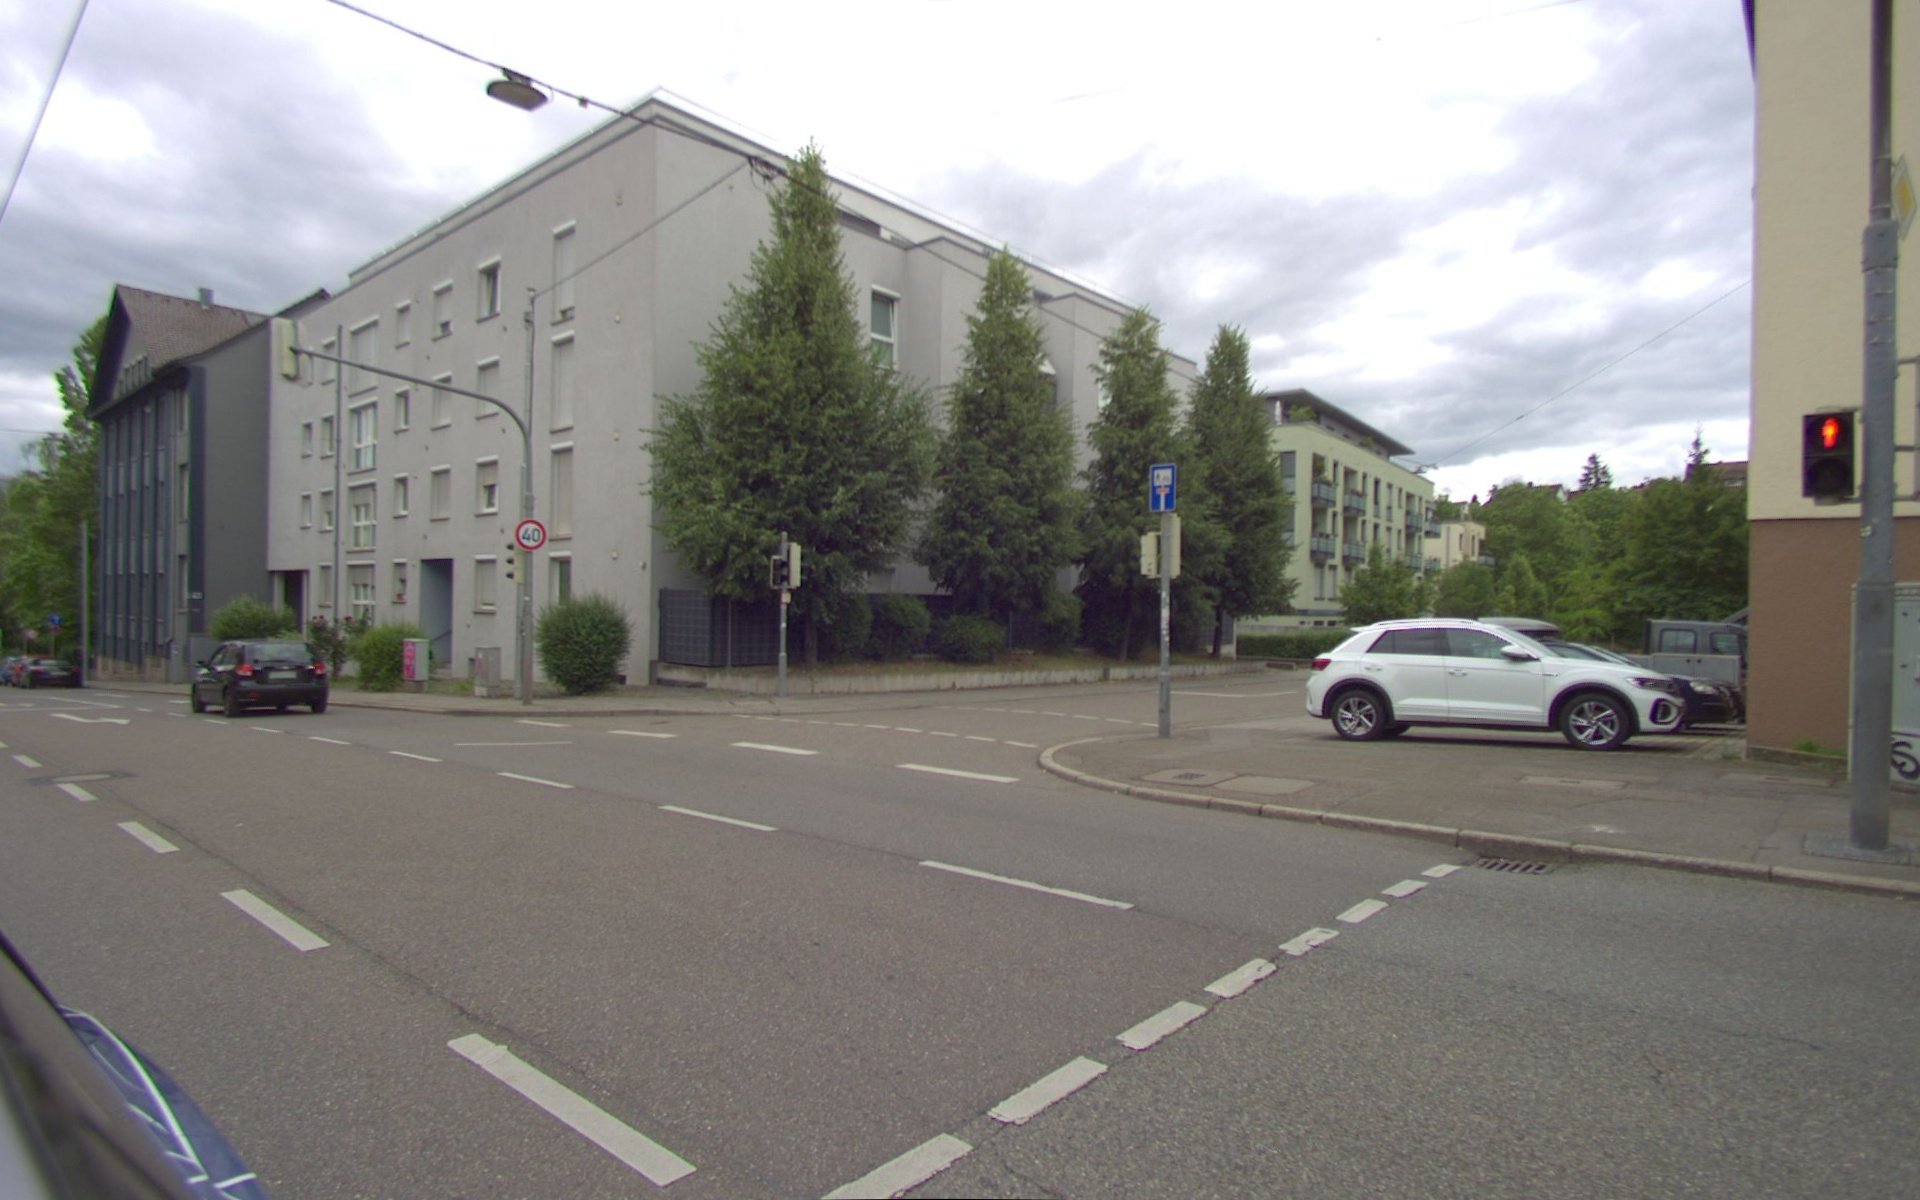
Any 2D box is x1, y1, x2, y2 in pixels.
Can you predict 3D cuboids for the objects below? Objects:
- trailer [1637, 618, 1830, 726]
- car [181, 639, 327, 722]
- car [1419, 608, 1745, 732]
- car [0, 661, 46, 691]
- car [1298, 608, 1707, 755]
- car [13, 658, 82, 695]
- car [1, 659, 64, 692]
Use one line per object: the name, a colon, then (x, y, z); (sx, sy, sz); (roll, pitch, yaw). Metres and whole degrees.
trailer: (15.719, 1.411, 20.610); (2.969, 2.029, 1.739); (-2, -3, 41)
car: (-14.003, 1.523, 20.004); (3.614, 1.475, 1.570); (-3, -3, 42)
car: (10.046, 1.156, 16.543); (4.252, 1.772, 1.975); (-4, -5, 37)
car: (-47.649, 3.807, 51.101); (3.998, 1.420, 1.776); (-3, -3, 42)
car: (6.676, 1.009, 12.692); (4.253, 1.549, 1.797); (-4, -5, 37)
car: (-39.223, 3.248, 43.476); (3.998, 1.420, 1.776); (-3, -3, 42)
car: (-43.554, 3.530, 47.512); (3.998, 1.420, 1.776); (-3, -3, 42)
